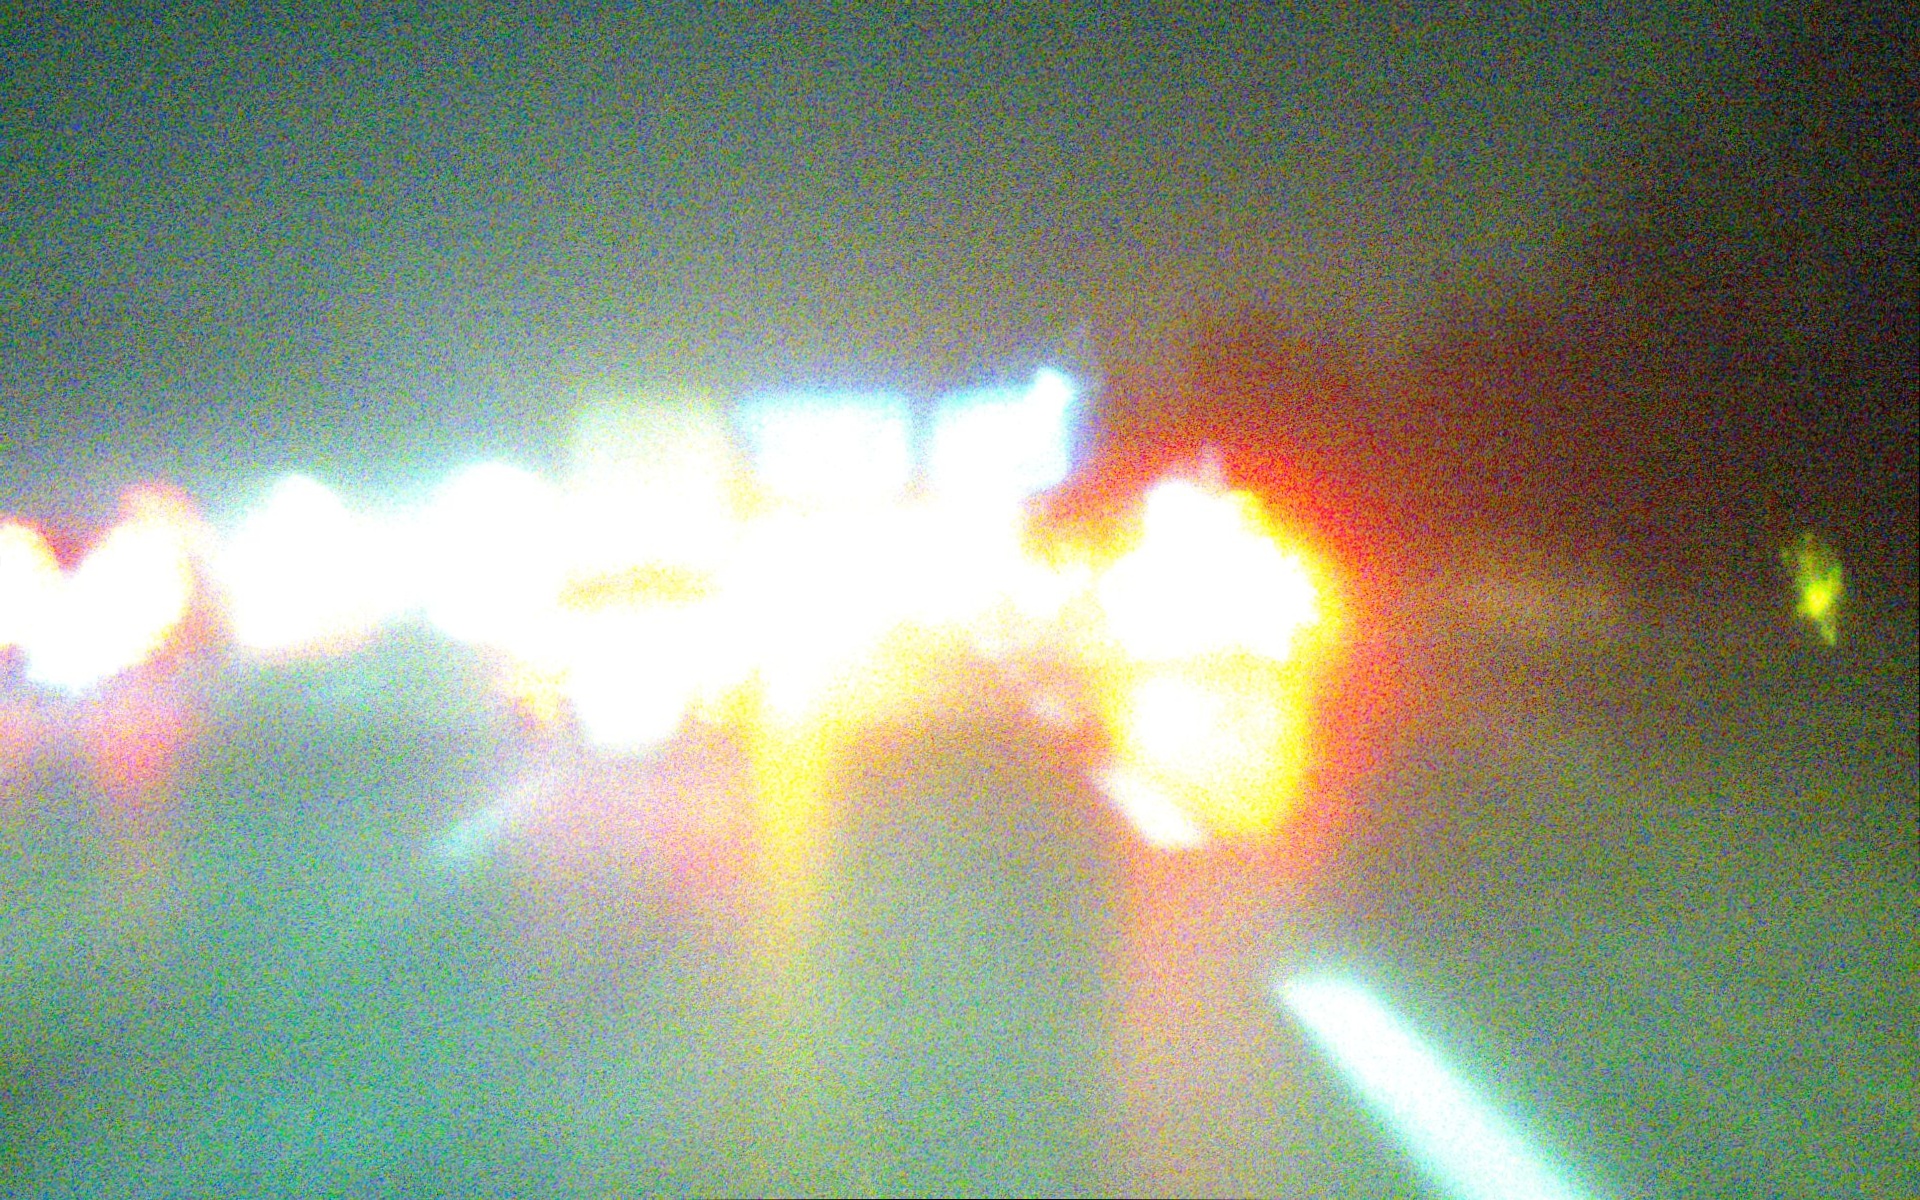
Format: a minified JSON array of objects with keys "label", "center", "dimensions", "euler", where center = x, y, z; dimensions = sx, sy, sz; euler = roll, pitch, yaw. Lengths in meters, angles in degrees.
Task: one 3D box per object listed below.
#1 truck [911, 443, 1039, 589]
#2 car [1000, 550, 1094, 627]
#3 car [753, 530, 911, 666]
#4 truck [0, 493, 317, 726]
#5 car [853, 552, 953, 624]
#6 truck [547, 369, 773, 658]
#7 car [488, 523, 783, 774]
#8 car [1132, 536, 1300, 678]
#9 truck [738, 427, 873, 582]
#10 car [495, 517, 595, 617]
[{"label":"truck","center":[0.485,-3.088,129.786],"dimensions":[4.161,5.197,9.955],"euler":[1,0,-3]},{"label":"car","center":[1.970,-0.277,79.213],"dimensions":[1.993,1.698,4.458],"euler":[1,0,0]},{"label":"car","center":[-1.716,-0.047,47.450],"dimensions":[2.039,1.755,4.516],"euler":[1,0,-1]},{"label":"truck","center":[-8.528,0.063,35.782],"dimensions":[2.857,2.193,5.859],"euler":[1,0,-3]},{"label":"car","center":[-1.627,-0.359,101.148],"dimensions":[2.833,2.007,5.510],"euler":[1,0,0]},{"label":"truck","center":[-5.380,-1.473,61.991],"dimensions":[3.655,4.721,9.854],"euler":[1,0,-5]},{"label":"car","center":[-2.301,0.286,25.280],"dimensions":[1.765,1.683,4.000],"euler":[1,1,0]},{"label":"car","center":[3.309,0.075,45.127],"dimensions":[1.878,1.756,4.000],"euler":[1,0,0]},{"label":"truck","center":[-5.644,-3.436,127.715],"dimensions":[4.254,5.425,10.884],"euler":[1,0,1]},{"label":"car","center":[-9.865,-0.778,81.751],"dimensions":[2.263,2.265,5.387],"euler":[1,0,-7]}]
